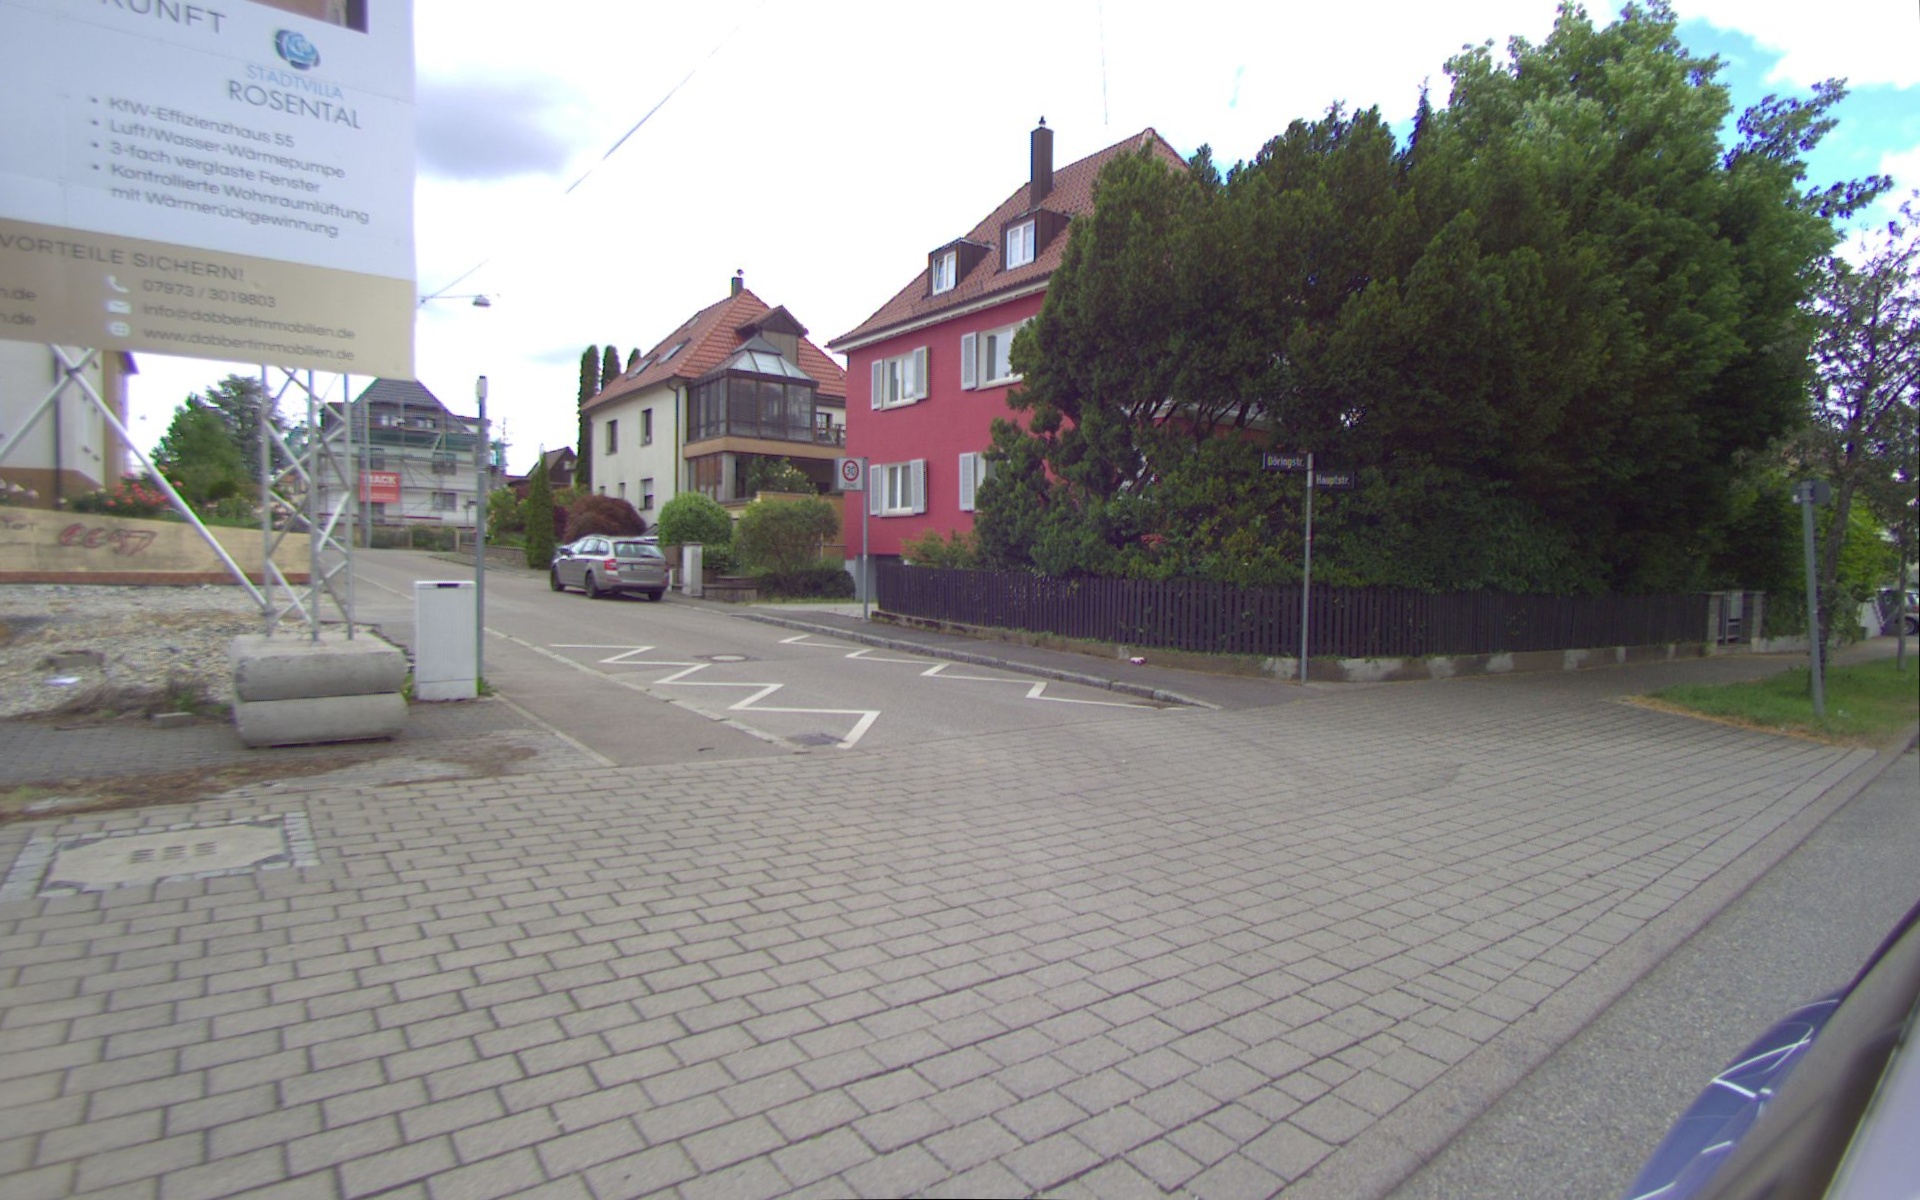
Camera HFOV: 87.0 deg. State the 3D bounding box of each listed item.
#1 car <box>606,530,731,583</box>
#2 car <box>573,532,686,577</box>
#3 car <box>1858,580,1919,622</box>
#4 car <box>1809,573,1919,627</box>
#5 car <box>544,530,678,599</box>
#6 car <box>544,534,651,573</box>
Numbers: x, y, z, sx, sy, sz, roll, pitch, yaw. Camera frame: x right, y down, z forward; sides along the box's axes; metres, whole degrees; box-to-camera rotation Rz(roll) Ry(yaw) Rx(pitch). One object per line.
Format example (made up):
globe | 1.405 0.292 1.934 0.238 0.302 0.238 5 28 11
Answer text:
car | -9.133 -1.325 31.837 3.439 1.560 1.621 0 1 -39
car | -11.649 -1.571 35.738 3.439 1.485 1.621 -1 1 -39
car | 35.409 0.065 37.238 1.720 1.477 3.356 0 3 -44
car | 32.572 -0.018 35.977 1.553 1.653 3.360 0 5 -41
car | -8.601 -0.914 24.704 1.728 1.442 4.232 2 3 -39
car | -13.478 -1.690 37.657 3.439 1.340 1.621 -1 1 -39
